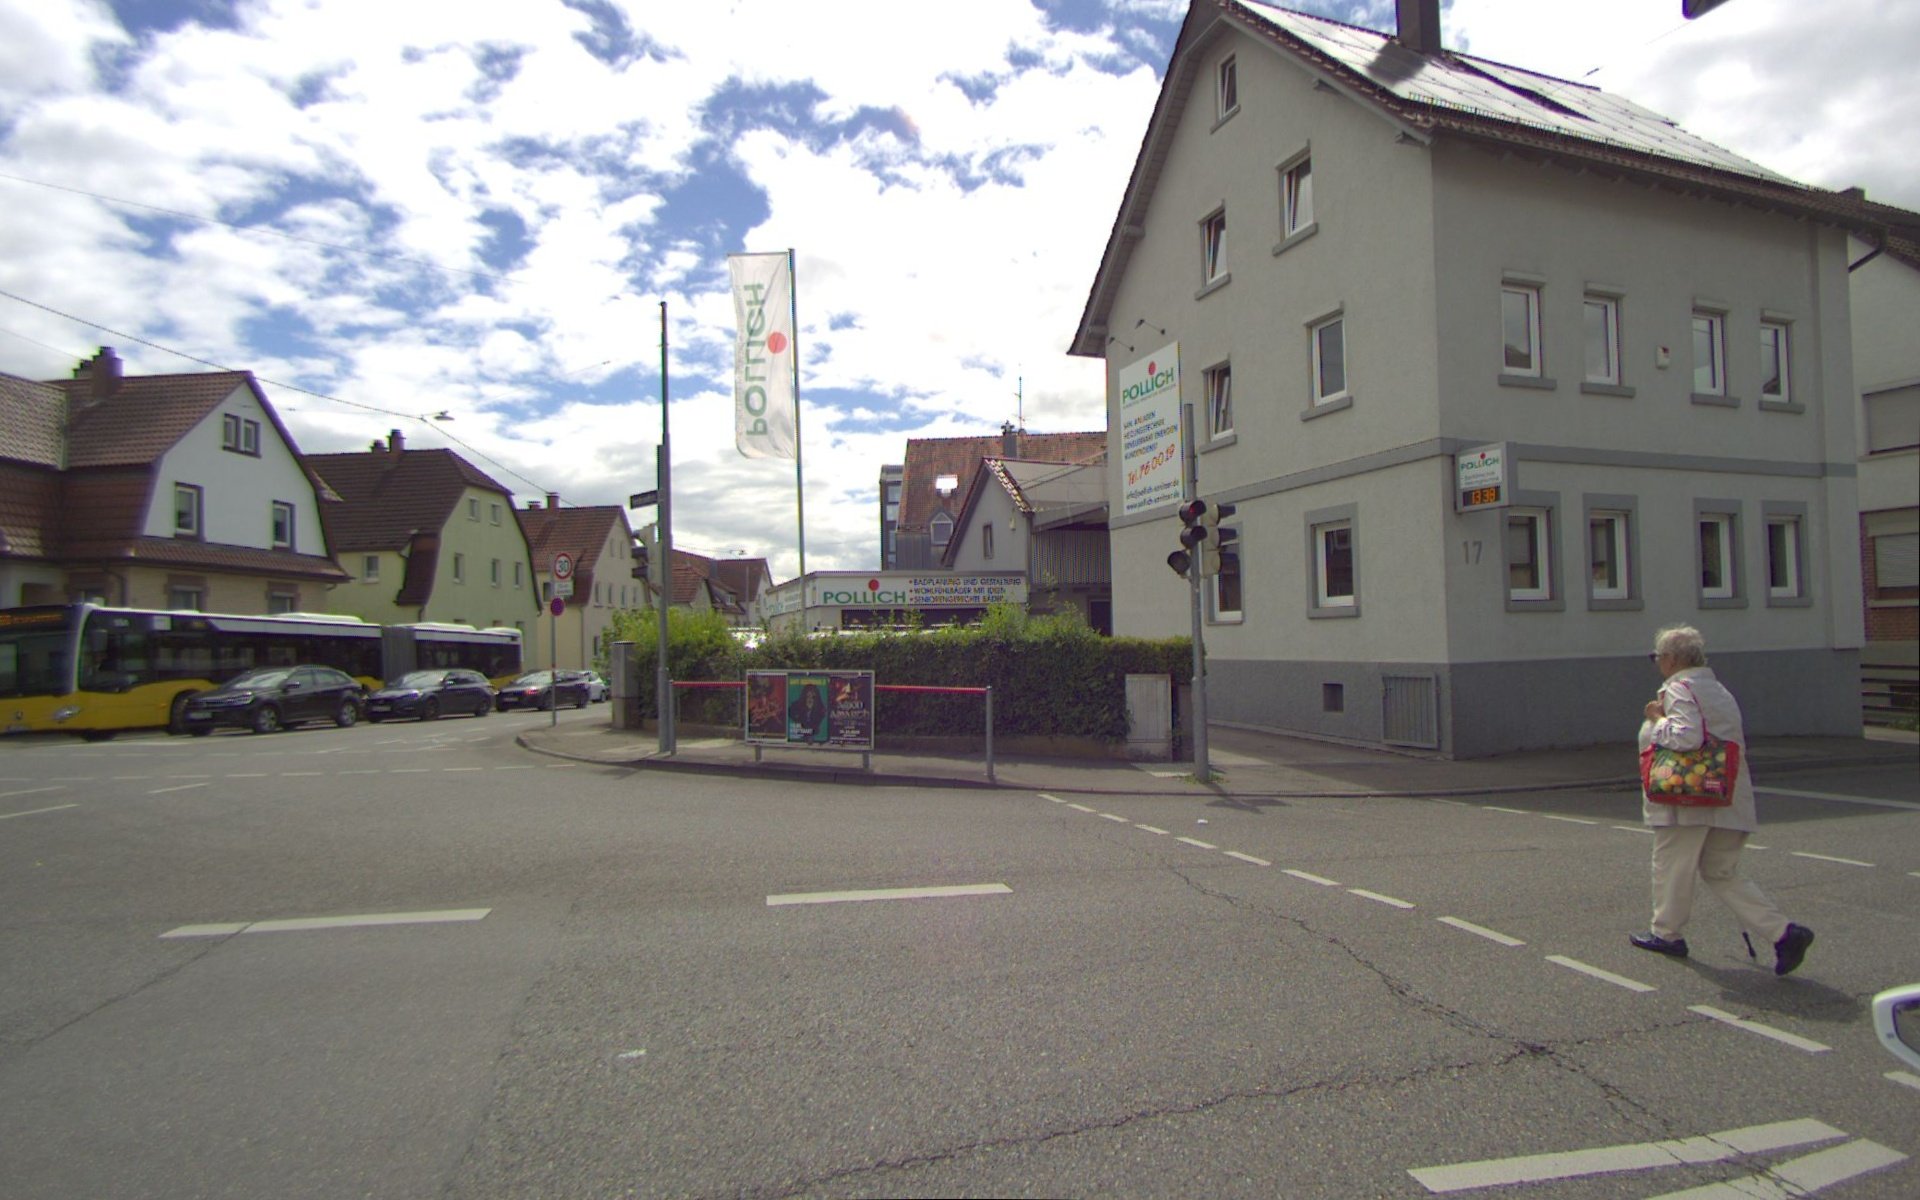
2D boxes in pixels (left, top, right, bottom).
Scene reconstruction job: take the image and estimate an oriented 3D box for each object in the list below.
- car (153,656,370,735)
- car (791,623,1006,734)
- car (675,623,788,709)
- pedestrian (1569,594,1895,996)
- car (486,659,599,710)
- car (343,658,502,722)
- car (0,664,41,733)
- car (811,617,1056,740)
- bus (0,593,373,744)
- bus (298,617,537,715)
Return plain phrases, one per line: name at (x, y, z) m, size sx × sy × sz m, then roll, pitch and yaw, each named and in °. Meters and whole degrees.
car at (-16.031, 2.138, 23.343) m, size 1.959 × 1.661 × 4.003 m, roll -1°, pitch -3°, yaw 6°
car at (-1.270, 1.532, 20.167) m, size 3.939 × 2.040 × 1.992 m, roll 1°, pitch -3°, yaw -20°
car at (-6.178, 1.724, 26.708) m, size 1.972 × 2.040 × 5.095 m, roll 1°, pitch -3°, yaw -24°
pedestrian at (3.525, 0.833, 4.662) m, size 0.821 × 1.659 × 0.872 m, roll 2°, pitch -2°, yaw -10°
car at (-14.547, 2.920, 35.283) m, size 1.959 × 1.661 × 4.003 m, roll -1°, pitch -3°, yaw 6°
car at (-15.146, 2.500, 28.625) m, size 1.959 × 1.661 × 4.187 m, roll -1°, pitch -3°, yaw 6°
car at (-26.711, 2.445, 25.973) m, size 3.921 × 1.705 × 2.001 m, roll 4°, pitch -3°, yaw 2°
car at (-0.512, 1.353, 17.872) m, size 3.940 × 1.973 × 1.991 m, roll 1°, pitch -4°, yaw -21°
bus at (-19.160, 1.677, 25.359) m, size 2.731 × 3.100 × 9.198 m, roll -1°, pitch -3°, yaw 4°
bus at (-18.287, 2.239, 34.870) m, size 2.731 × 2.952 × 9.198 m, roll -1°, pitch -3°, yaw 4°
